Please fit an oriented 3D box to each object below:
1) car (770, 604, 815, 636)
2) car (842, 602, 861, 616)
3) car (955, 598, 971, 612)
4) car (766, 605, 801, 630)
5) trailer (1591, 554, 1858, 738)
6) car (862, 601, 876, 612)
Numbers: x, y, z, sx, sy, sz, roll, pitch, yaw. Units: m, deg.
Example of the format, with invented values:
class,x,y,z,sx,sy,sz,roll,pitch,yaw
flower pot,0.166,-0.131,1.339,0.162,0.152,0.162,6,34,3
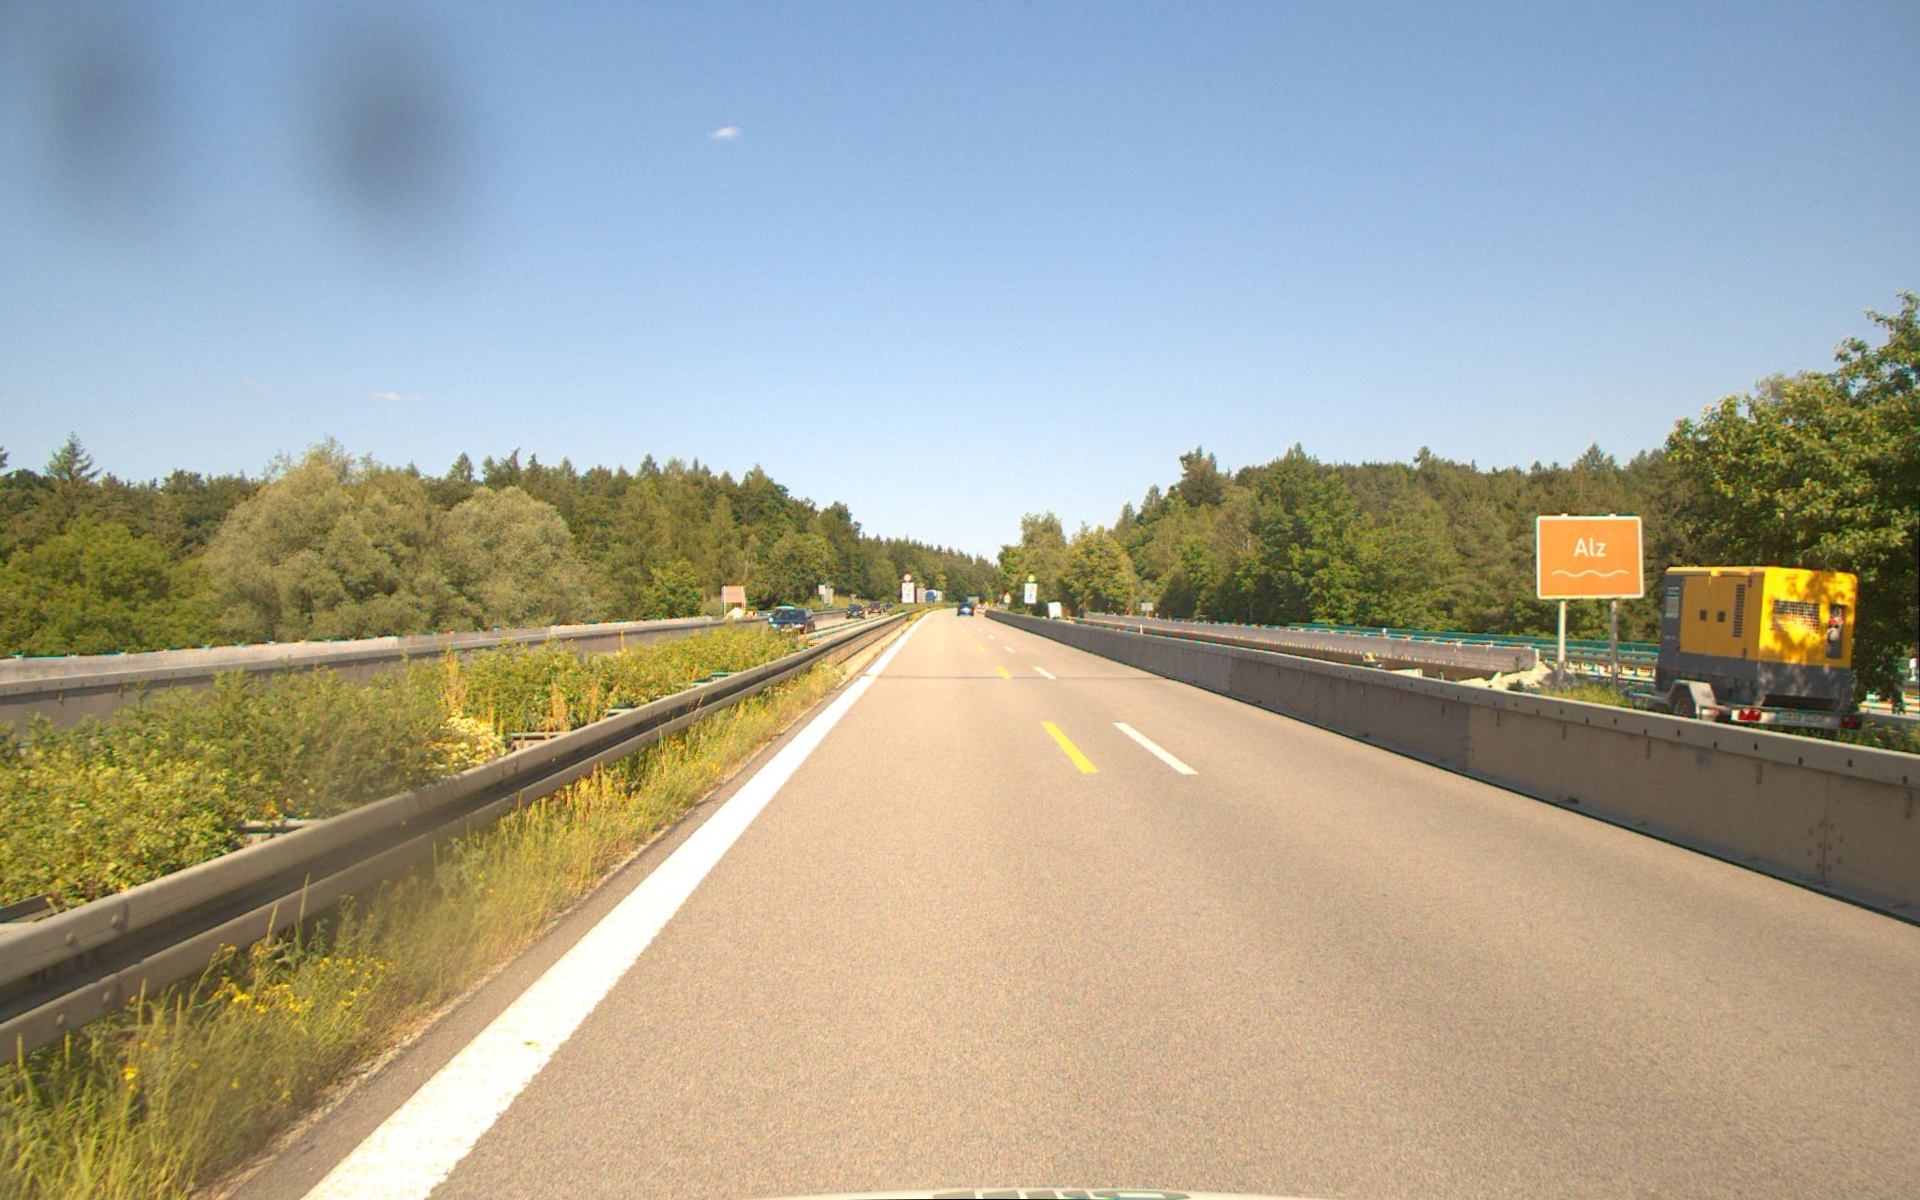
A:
class,x,y,z,sx,sy,sz,roll,pitch,yaw
car,-7.921,0.922,78.458,1.612,1.401,4.808,-1,0,0
car,-11.408,0.944,173.749,1.708,1.492,4.908,-1,0,-1
car,0.275,0.550,182.893,1.708,1.492,4.293,-1,0,-1
car,-10.218,0.995,95.987,1.648,1.417,4.191,-1,0,-1
trailer,8.781,0.475,19.336,1.102,1.906,3.998,-1,0,-3
car,-12.384,0.915,226.218,1.708,1.492,4.293,-1,0,-1
